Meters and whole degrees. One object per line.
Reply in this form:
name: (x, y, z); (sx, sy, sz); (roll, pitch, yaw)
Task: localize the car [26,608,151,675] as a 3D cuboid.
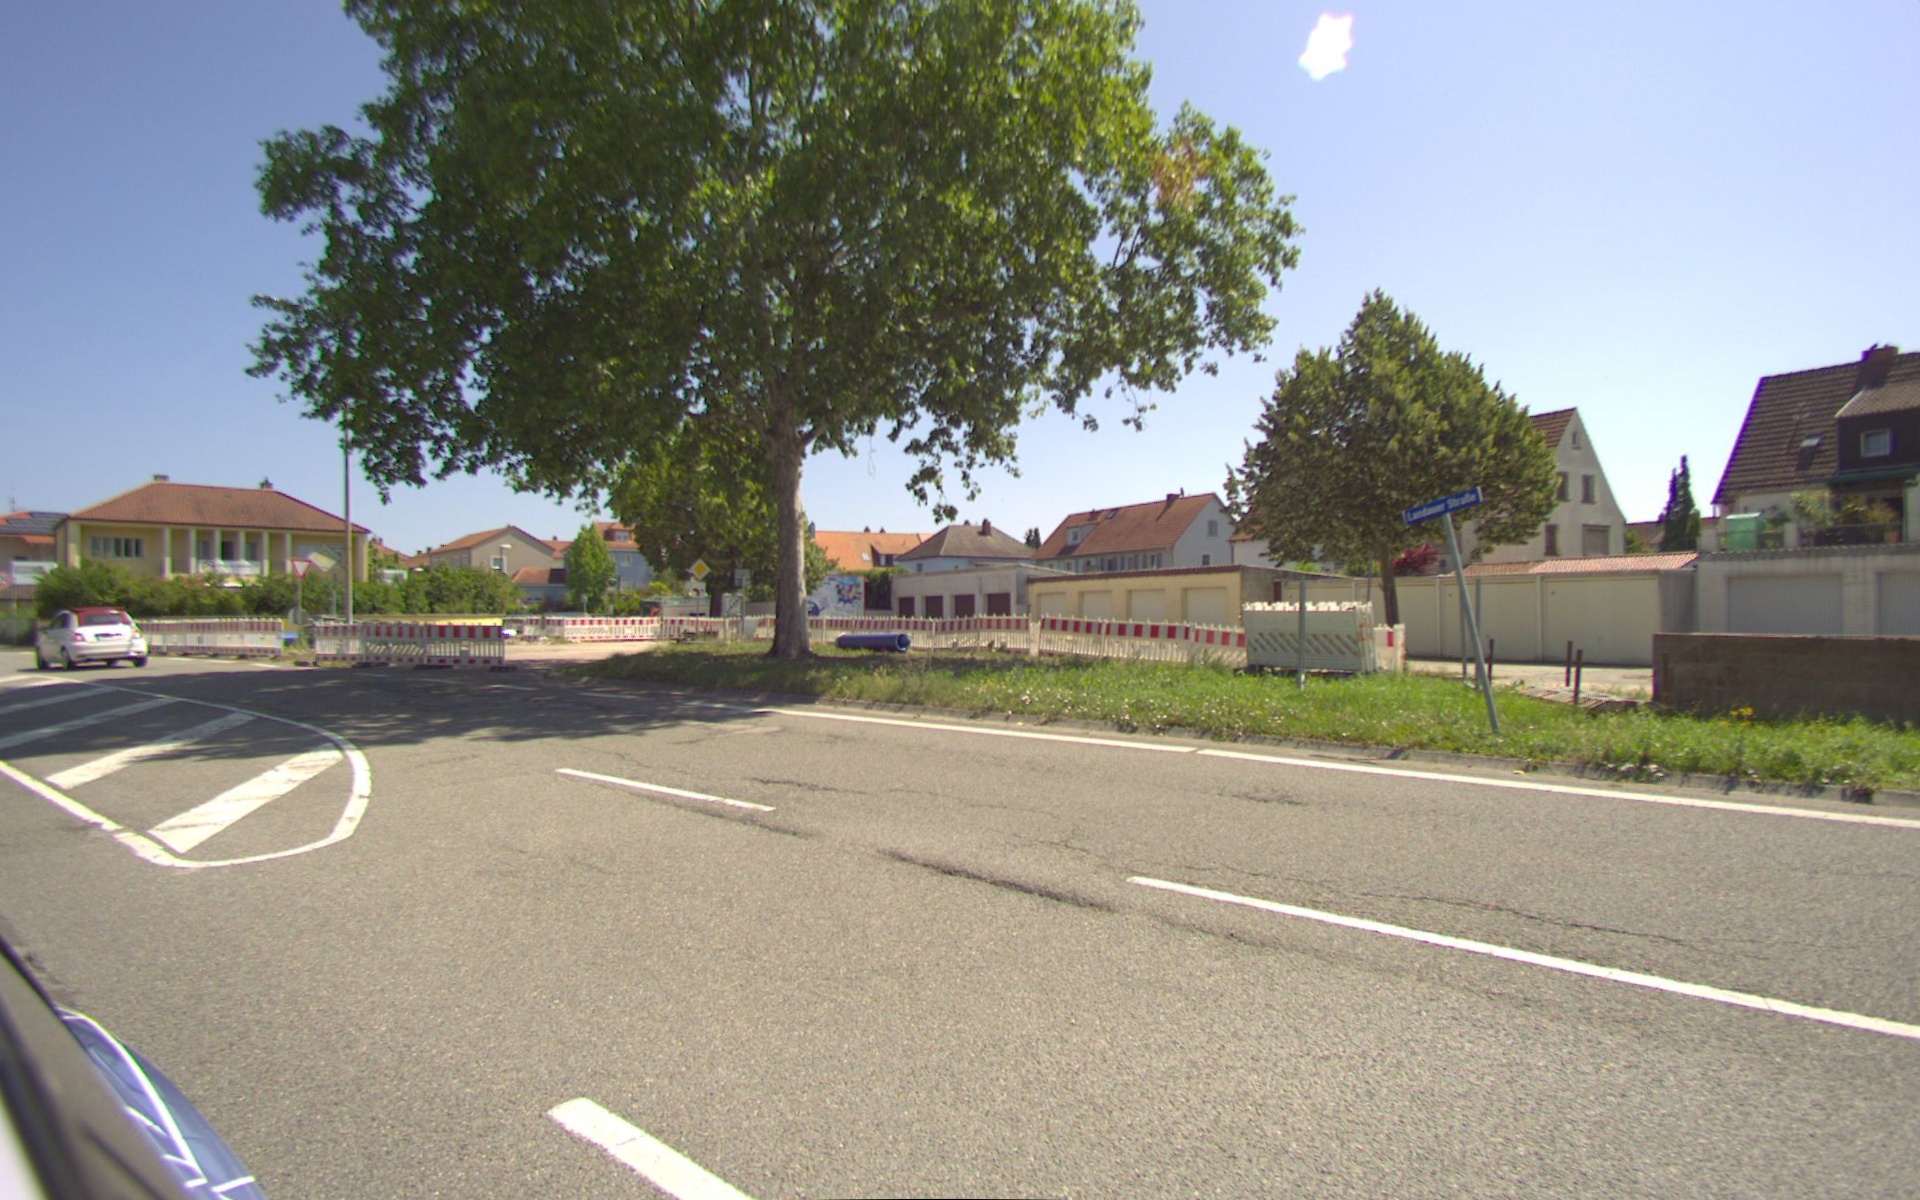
car: (-22.053, 1.013, 25.585); (3.453, 1.521, 1.683); (-1, 1, 37)

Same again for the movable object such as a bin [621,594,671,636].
movable object such as a bin: (-21.364, 1.053, 68.748); (2.240, 2.756, 3.941); (0, -1, -33)
